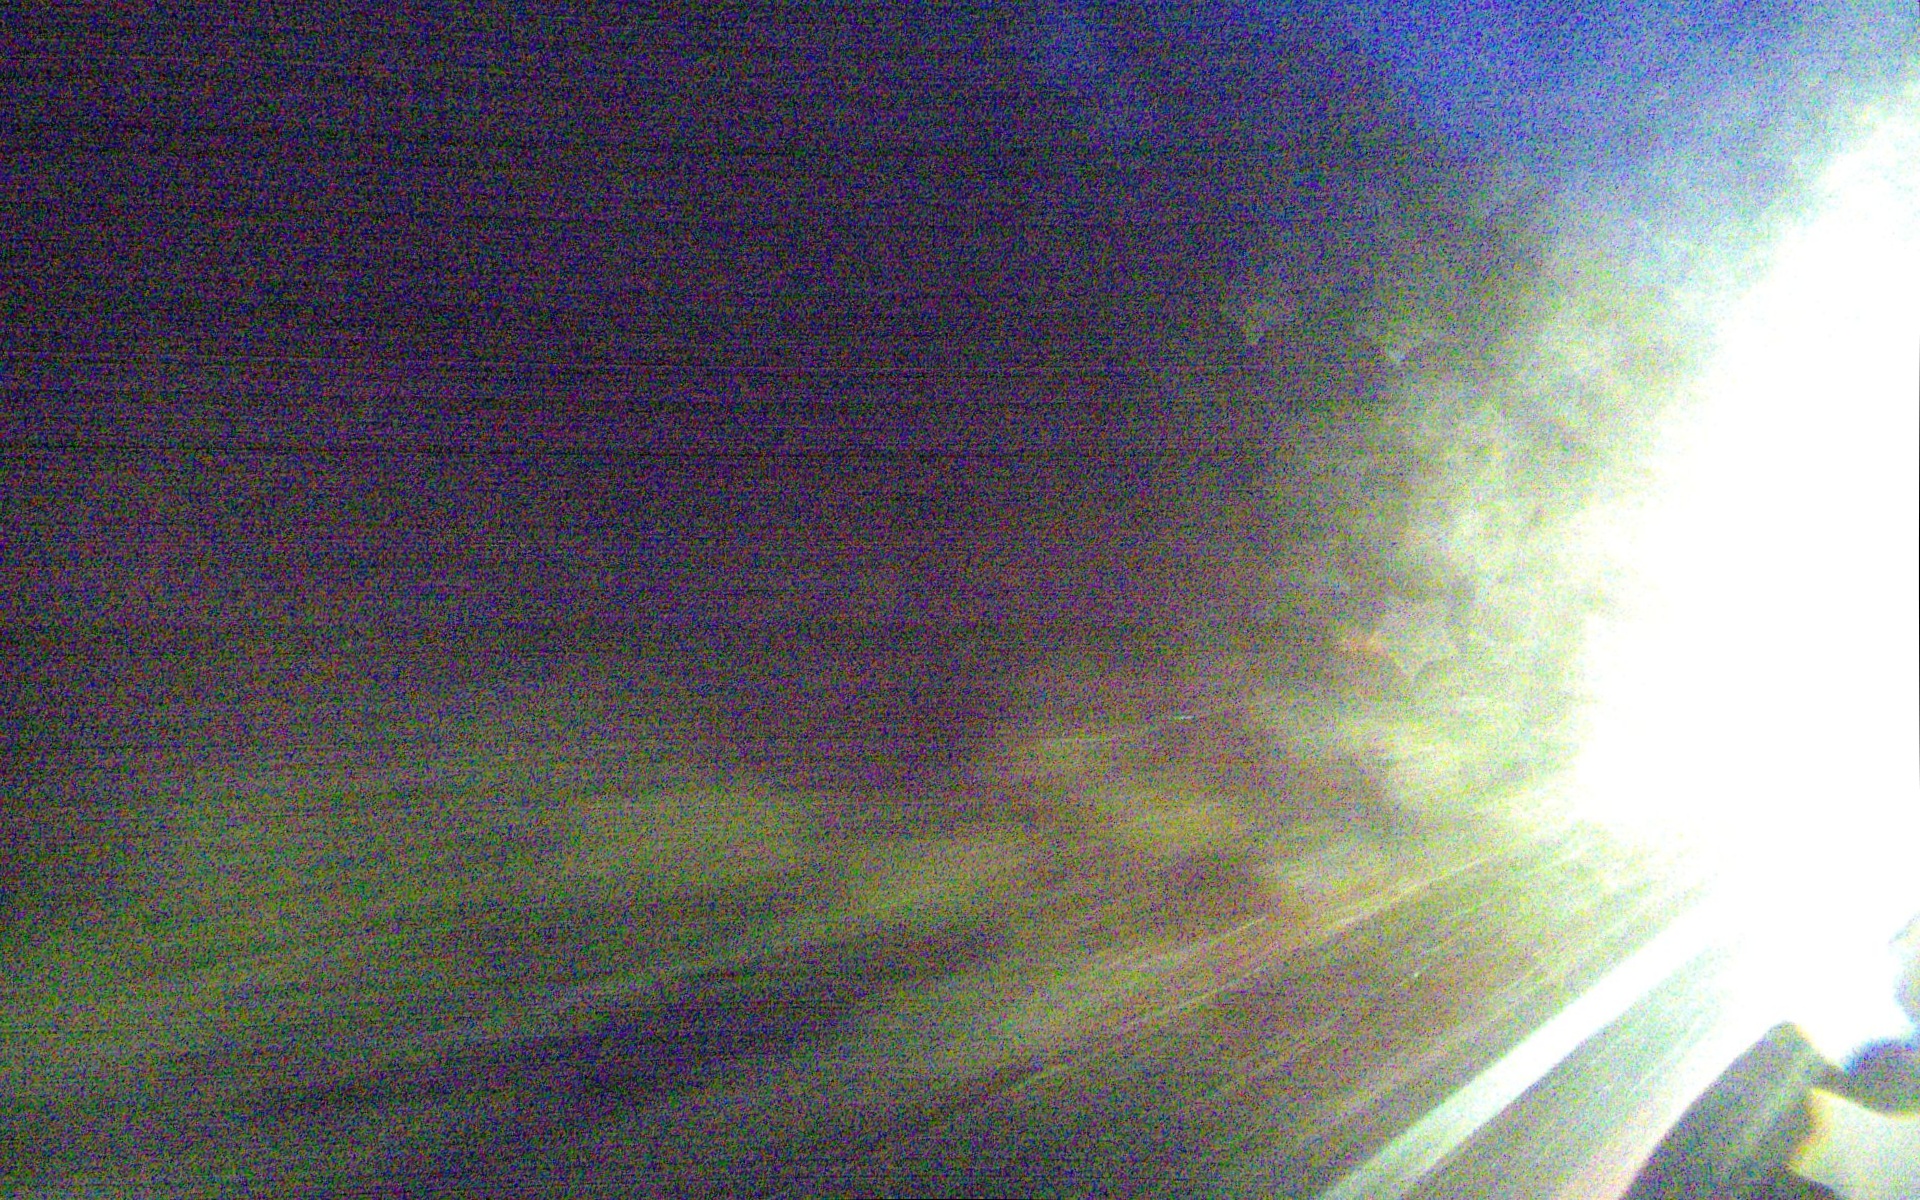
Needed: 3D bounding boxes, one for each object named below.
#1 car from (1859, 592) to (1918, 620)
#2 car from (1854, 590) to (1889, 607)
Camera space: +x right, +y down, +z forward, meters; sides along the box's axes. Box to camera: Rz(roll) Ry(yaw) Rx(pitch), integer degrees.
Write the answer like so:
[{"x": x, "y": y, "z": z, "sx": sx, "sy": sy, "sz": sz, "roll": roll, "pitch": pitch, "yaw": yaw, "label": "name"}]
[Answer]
[{"x": 55.611, "y": 0.334, "z": 60.675, "sx": 1.986, "sy": 1.482, "sz": 3.953, "roll": 0, "pitch": 2, "yaw": 34, "label": "car"}, {"x": 94.609, "y": -0.171, "z": 105.055, "sx": 1.689, "sy": 1.591, "sz": 4.664, "roll": 0, "pitch": 1, "yaw": 29, "label": "car"}]
